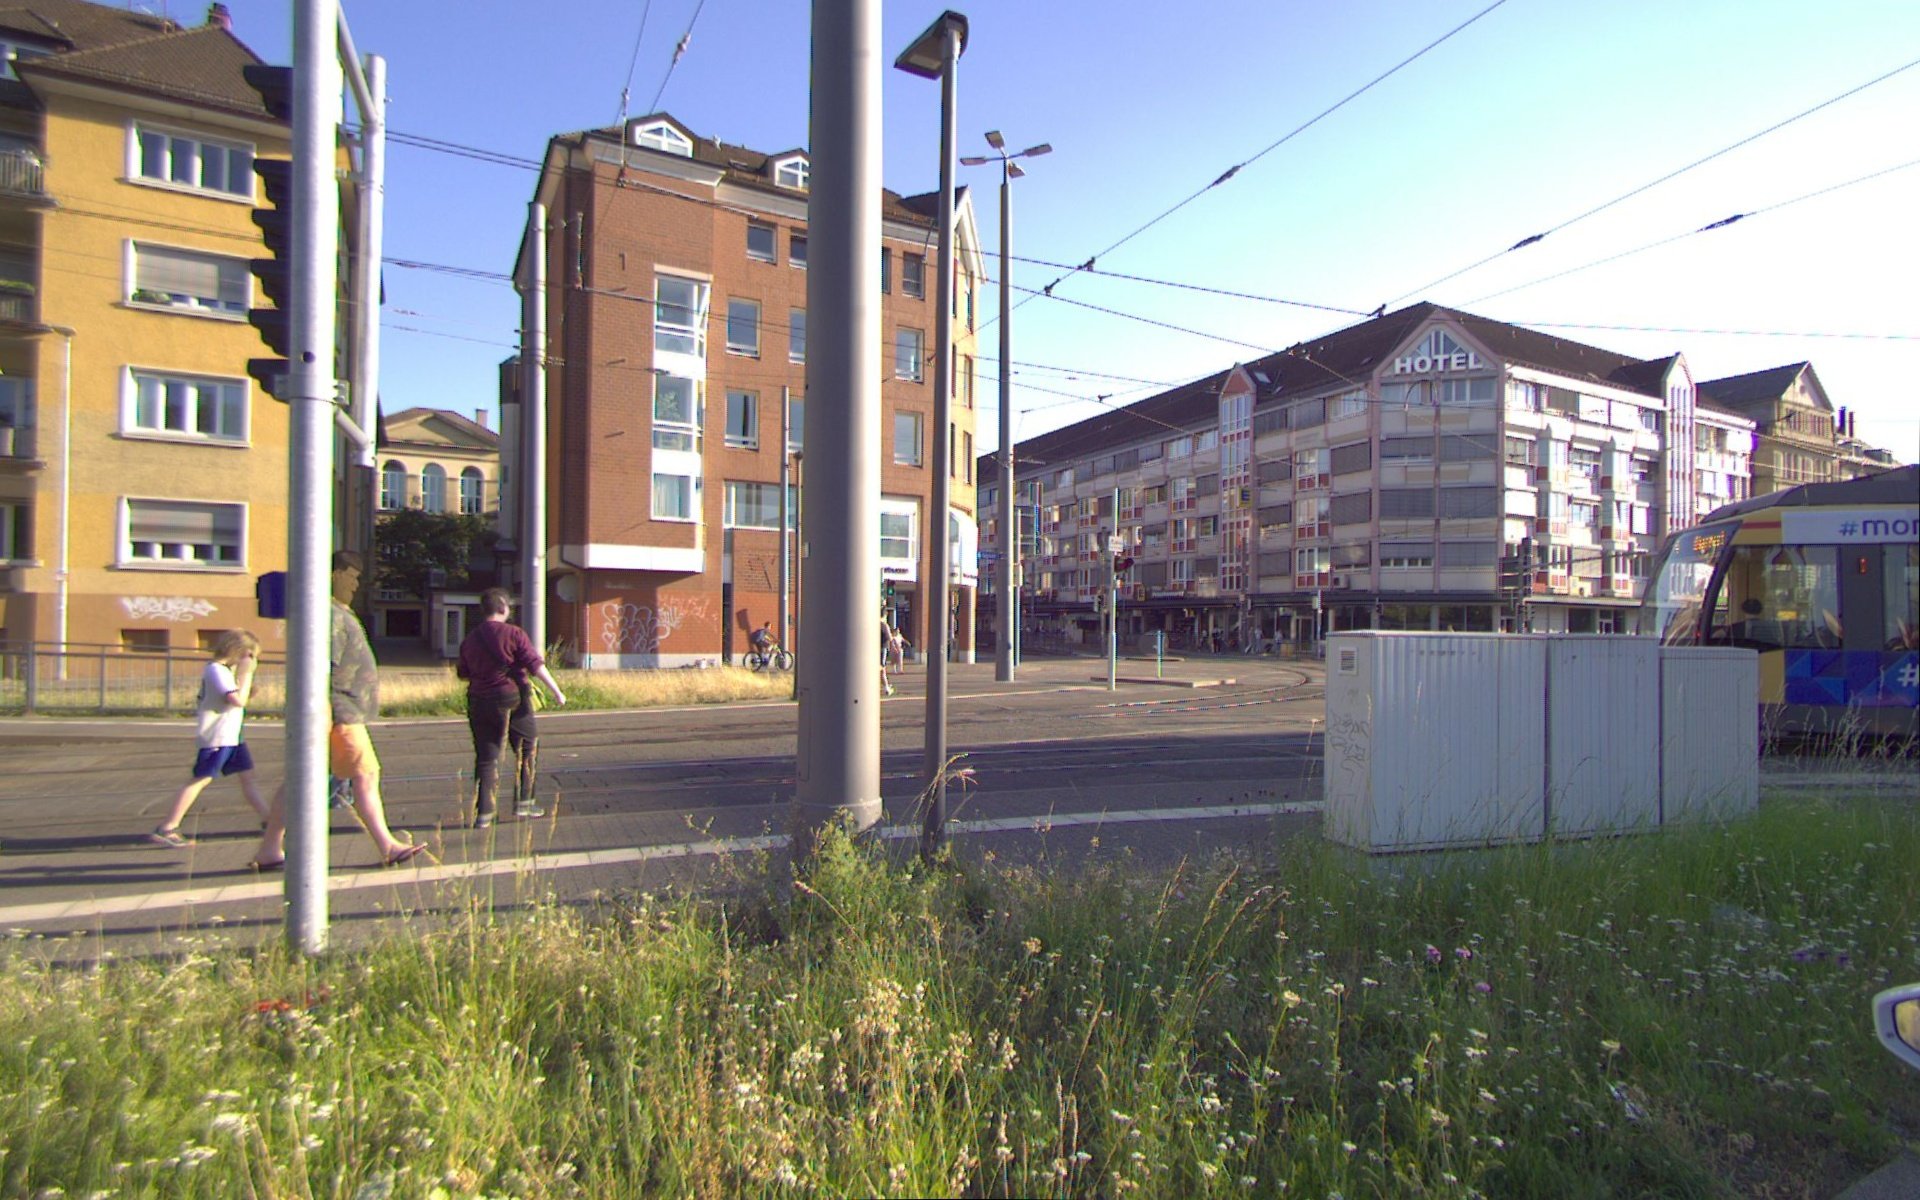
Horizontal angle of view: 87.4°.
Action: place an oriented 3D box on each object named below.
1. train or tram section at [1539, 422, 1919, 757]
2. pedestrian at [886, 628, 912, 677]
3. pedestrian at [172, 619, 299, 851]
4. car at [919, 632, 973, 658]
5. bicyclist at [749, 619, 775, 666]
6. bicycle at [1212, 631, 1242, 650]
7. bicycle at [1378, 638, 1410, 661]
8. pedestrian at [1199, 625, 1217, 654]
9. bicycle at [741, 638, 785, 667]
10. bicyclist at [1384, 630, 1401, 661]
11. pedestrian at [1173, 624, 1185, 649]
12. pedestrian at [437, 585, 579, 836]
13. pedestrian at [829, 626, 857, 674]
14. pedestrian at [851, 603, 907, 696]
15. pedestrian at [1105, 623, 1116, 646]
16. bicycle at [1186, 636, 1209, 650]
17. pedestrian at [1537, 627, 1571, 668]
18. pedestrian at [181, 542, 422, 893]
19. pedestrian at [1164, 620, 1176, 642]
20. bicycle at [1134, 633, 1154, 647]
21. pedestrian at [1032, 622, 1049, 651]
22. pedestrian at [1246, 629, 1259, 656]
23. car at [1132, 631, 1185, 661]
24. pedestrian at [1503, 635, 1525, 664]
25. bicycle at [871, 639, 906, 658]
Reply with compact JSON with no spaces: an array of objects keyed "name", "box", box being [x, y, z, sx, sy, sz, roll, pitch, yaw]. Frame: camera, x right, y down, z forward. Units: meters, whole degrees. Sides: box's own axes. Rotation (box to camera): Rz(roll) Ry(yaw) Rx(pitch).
[{"name":"train or tram section","box":[15.221,-0.022,12.784,13.088,3.884,3.718,1,-1,11]},{"name":"pedestrian","box":[-2.092,1.797,34.555,0.825,1.605,0.683,2,0,-3]},{"name":"pedestrian","box":[-4.583,0.815,6.389,0.602,1.378,0.591,2,-2,-34]},{"name":"car","box":[-0.841,2.568,57.527,1.725,1.261,3.916,2,0,-22]},{"name":"bicyclist","box":[-6.665,1.430,33.850,0.722,1.564,0.430,2,0,-34]},{"name":"bicycle","box":[18.455,2.784,69.590,0.720,1.243,2.319,2,-2,-24]},{"name":"bicycle","box":[24.202,2.755,55.987,1.746,1.160,0.636,-1,1,-27]},{"name":"pedestrian","box":[14.602,2.317,59.185,0.773,1.682,0.677,2,0,-35]},{"name":"bicycle","box":[-6.641,1.764,33.869,1.351,0.929,0.430,2,0,-34]},{"name":"bicyclist","box":[24.080,2.528,55.920,0.649,1.618,0.636,-1,1,-26]},{"name":"pedestrian","box":[16.677,2.744,76.428,0.601,1.877,0.601,2,0,-20]},{"name":"pedestrian","box":[-3.107,0.714,6.898,0.780,1.609,0.603,2,0,-33]},{"name":"pedestrian","box":[-4.011,1.719,34.509,0.828,1.605,0.681,2,0,-16]},{"name":"pedestrian","box":[-1.617,0.971,20.009,0.824,1.781,0.687,2,0,-44]},{"name":"pedestrian","box":[12.561,2.878,83.845,0.804,1.802,0.680,2,0,0]},{"name":"bicycle","box":[17.086,3.109,72.274,0.494,0.929,2.066,2,-2,-24]},{"name":"pedestrian","box":[31.215,2.483,52.799,0.847,1.909,1.187,-12,8,-33]},{"name":"pedestrian","box":[-3.608,0.607,5.593,0.885,1.781,0.773,2,0,-16]},{"name":"pedestrian","box":[16.023,2.363,76.570,0.603,1.655,0.600,3,-7,-26]},{"name":"bicycle","box":[14.627,3.174,79.845,1.630,1.134,0.480,2,0,-30]},{"name":"pedestrian","box":[4.711,2.128,58.926,0.770,1.682,0.680,2,0,-21]},{"name":"pedestrian","box":[19.098,2.783,65.524,0.612,1.717,0.866,2,0,29]},{"name":"car","box":[13.556,3.134,68.882,1.776,1.840,3.673,2,0,-23]},{"name":"pedestrian","box":[29.206,2.616,52.929,0.847,1.472,0.700,2,0,-34]},{"name":"bicycle","box":[-3.917,2.644,55.023,1.813,0.974,0.540,1,1,-27]}]
